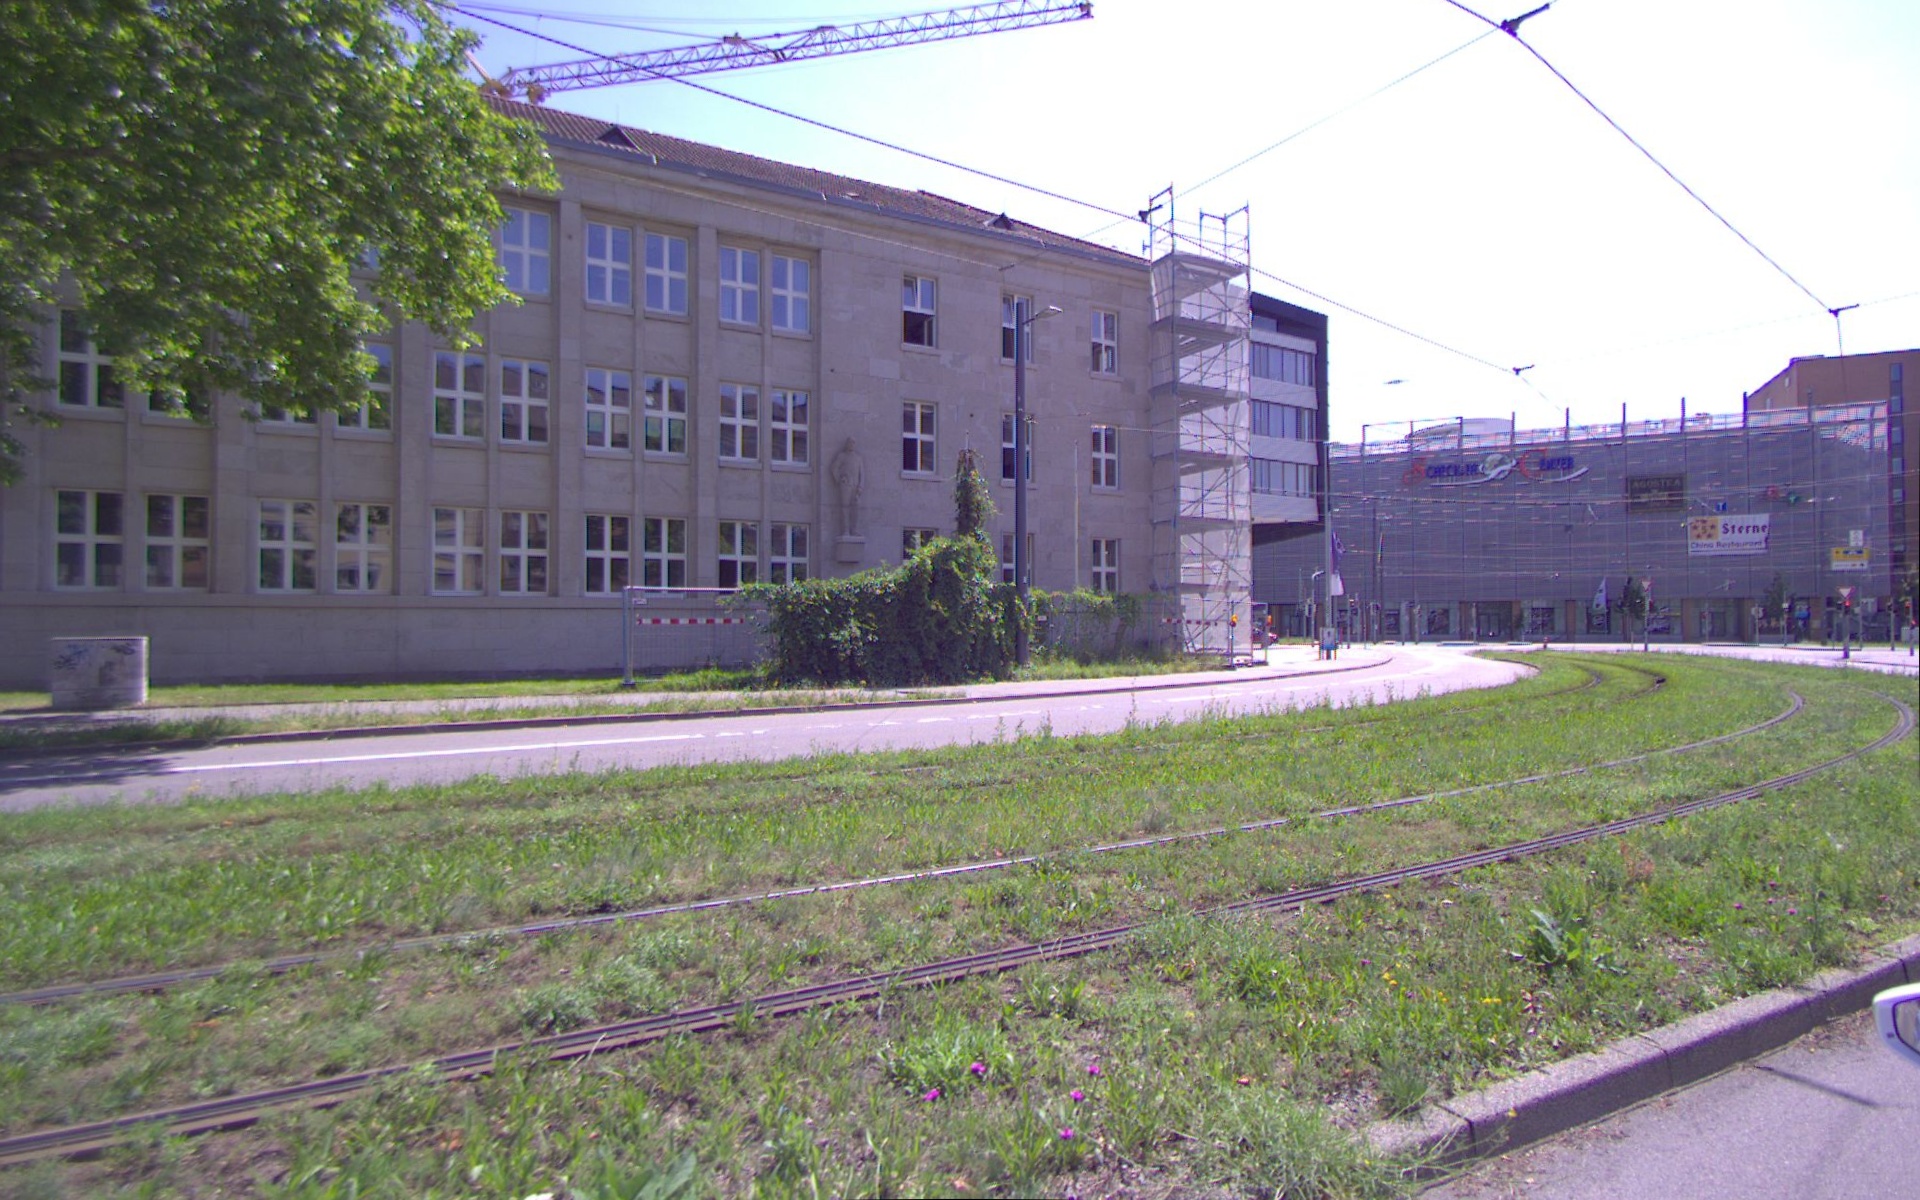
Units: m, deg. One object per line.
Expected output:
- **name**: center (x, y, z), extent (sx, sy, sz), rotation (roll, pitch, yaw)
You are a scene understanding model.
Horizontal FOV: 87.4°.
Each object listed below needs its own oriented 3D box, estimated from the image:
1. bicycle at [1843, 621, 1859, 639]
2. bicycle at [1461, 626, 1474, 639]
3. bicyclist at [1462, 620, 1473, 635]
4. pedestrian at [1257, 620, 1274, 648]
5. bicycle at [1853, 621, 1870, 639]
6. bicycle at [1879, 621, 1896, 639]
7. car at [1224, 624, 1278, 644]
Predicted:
- **bicycle**: center (87.896, 2.915, 99.077), extent (0.589, 1.754, 2.258), rotation (0, -1, 25)
- **bicycle**: center (54.216, 3.451, 107.327), extent (1.046, 1.409, 3.017), rotation (0, -1, 31)
- **bicyclist**: center (54.124, 2.951, 107.169), extent (1.024, 1.592, 0.776), rotation (0, 0, 31)
- **pedestrian**: center (18.395, 2.026, 60.419), extent (0.734, 1.652, 0.915), rotation (0, 0, 0)
- **bicycle**: center (88.626, 2.943, 98.738), extent (0.589, 1.754, 2.258), rotation (0, -1, 25)
- **bicycle**: center (90.027, 2.911, 97.524), extent (0.589, 1.754, 2.258), rotation (0, -1, 25)
- **car**: center (23.505, 2.712, 81.242), extent (4.058, 1.528, 1.842), rotation (0, -1, 21)
